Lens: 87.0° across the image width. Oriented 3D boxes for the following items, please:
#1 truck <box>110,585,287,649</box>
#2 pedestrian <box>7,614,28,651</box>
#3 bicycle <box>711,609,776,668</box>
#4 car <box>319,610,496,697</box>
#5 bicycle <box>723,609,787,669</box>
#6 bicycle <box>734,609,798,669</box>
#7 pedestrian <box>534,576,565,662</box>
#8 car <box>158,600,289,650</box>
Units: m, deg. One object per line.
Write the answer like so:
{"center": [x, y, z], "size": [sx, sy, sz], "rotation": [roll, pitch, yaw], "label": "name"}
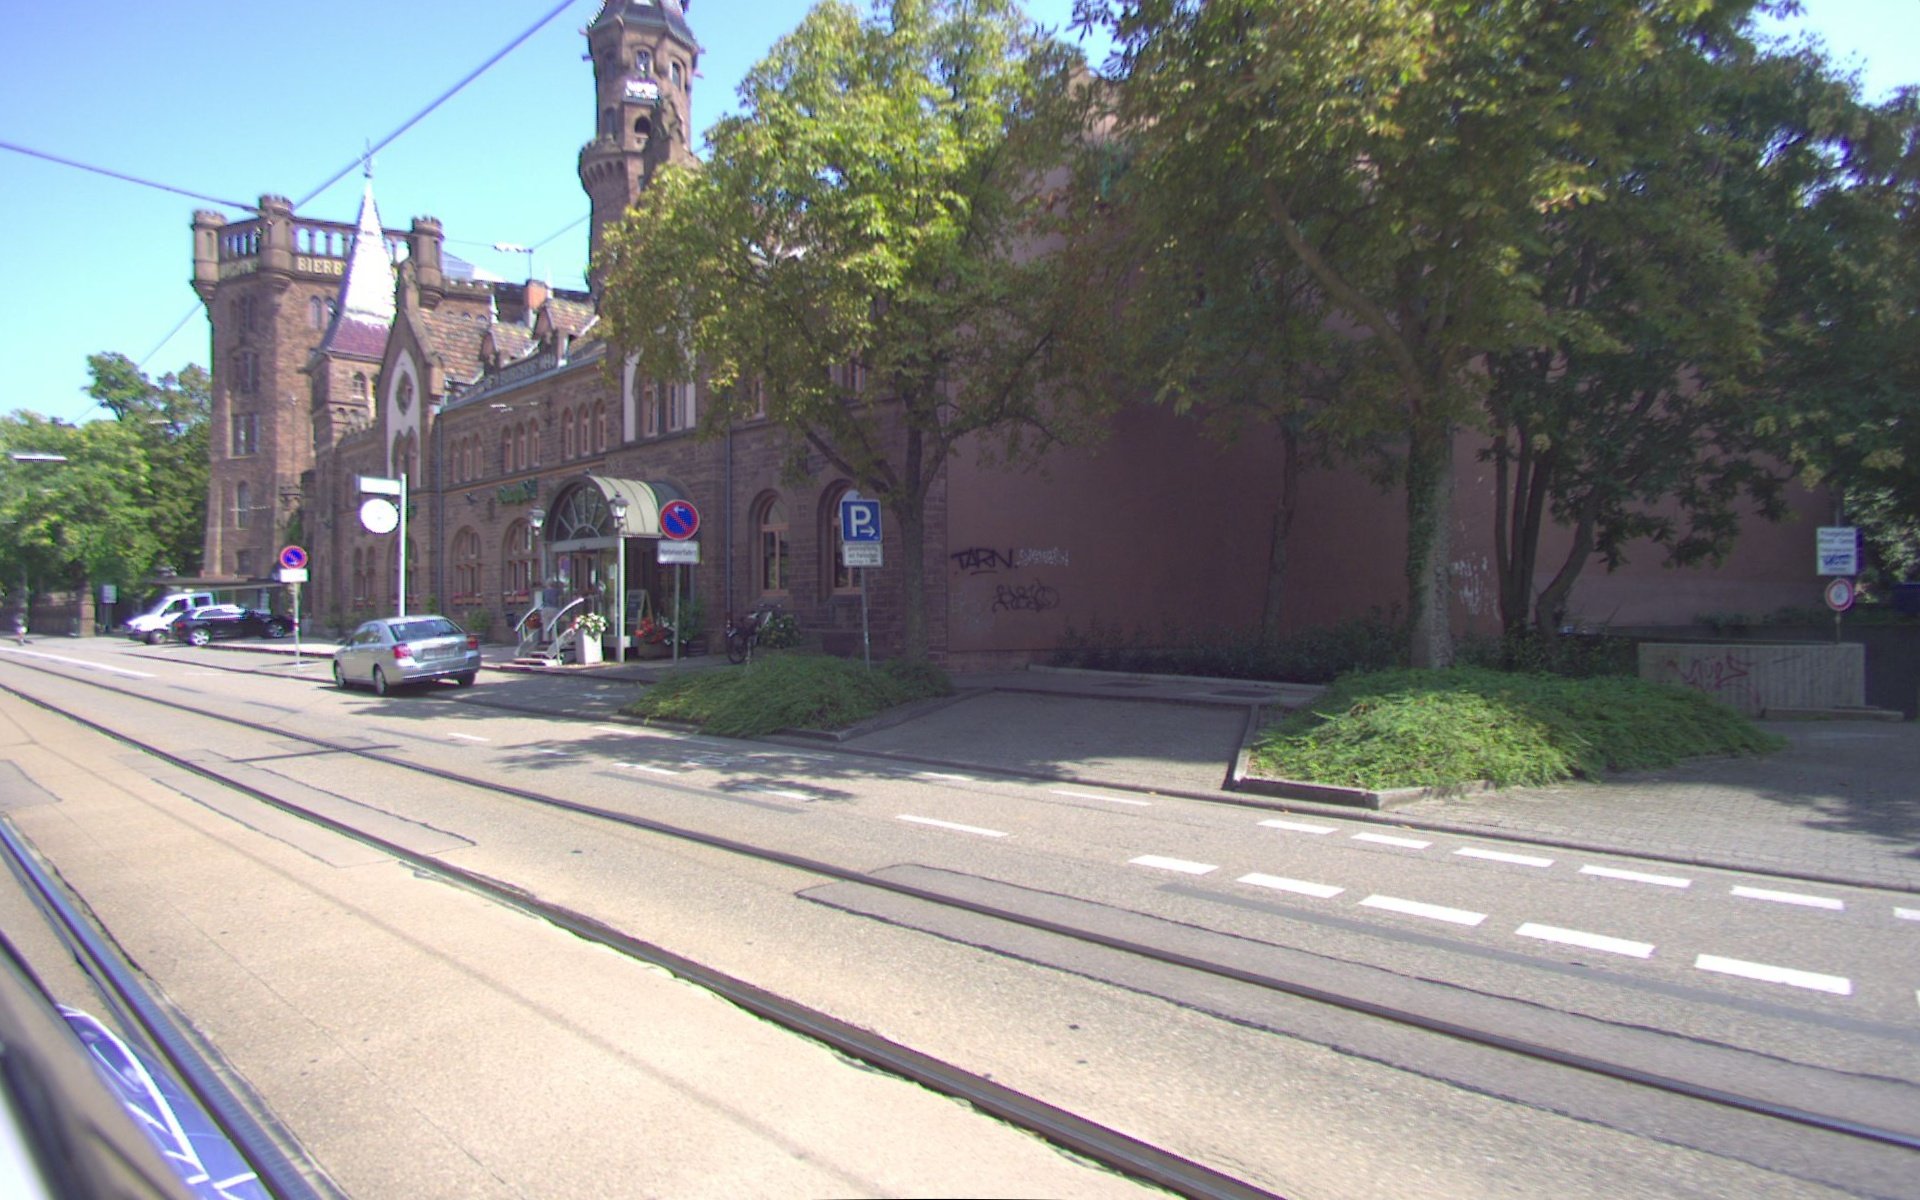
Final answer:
{"center": [-37.031, 0.772, 49.396], "size": [2.317, 2.543, 6.427], "rotation": [-1, 3, 42], "label": "truck"}
{"center": [-48.675, 1.673, 52.284], "size": [0.828, 1.862, 0.726], "rotation": [-1, -1, 42], "label": "pedestrian"}
{"center": [-4.513, 0.791, 21.167], "size": [0.376, 1.069, 1.434], "rotation": [-1, 4, 31], "label": "bicycle"}
{"center": [-11.440, 1.019, 20.823], "size": [4.516, 1.513, 1.913], "rotation": [-1, 1, 44], "label": "car"}
{"center": [-4.235, 0.788, 20.985], "size": [0.376, 1.069, 1.434], "rotation": [-1, 4, 31], "label": "bicycle"}
{"center": [-3.979, 0.784, 20.817], "size": [0.376, 1.069, 1.434], "rotation": [-1, 4, 31], "label": "bicycle"}
{"center": [-9.624, 0.437, 23.726], "size": [0.499, 1.995, 0.518], "rotation": [0, 0, 5], "label": "pedestrian"}
{"center": [-32.741, 1.079, 45.058], "size": [2.000, 1.811, 4.349], "rotation": [-1, 3, 44], "label": "car"}
